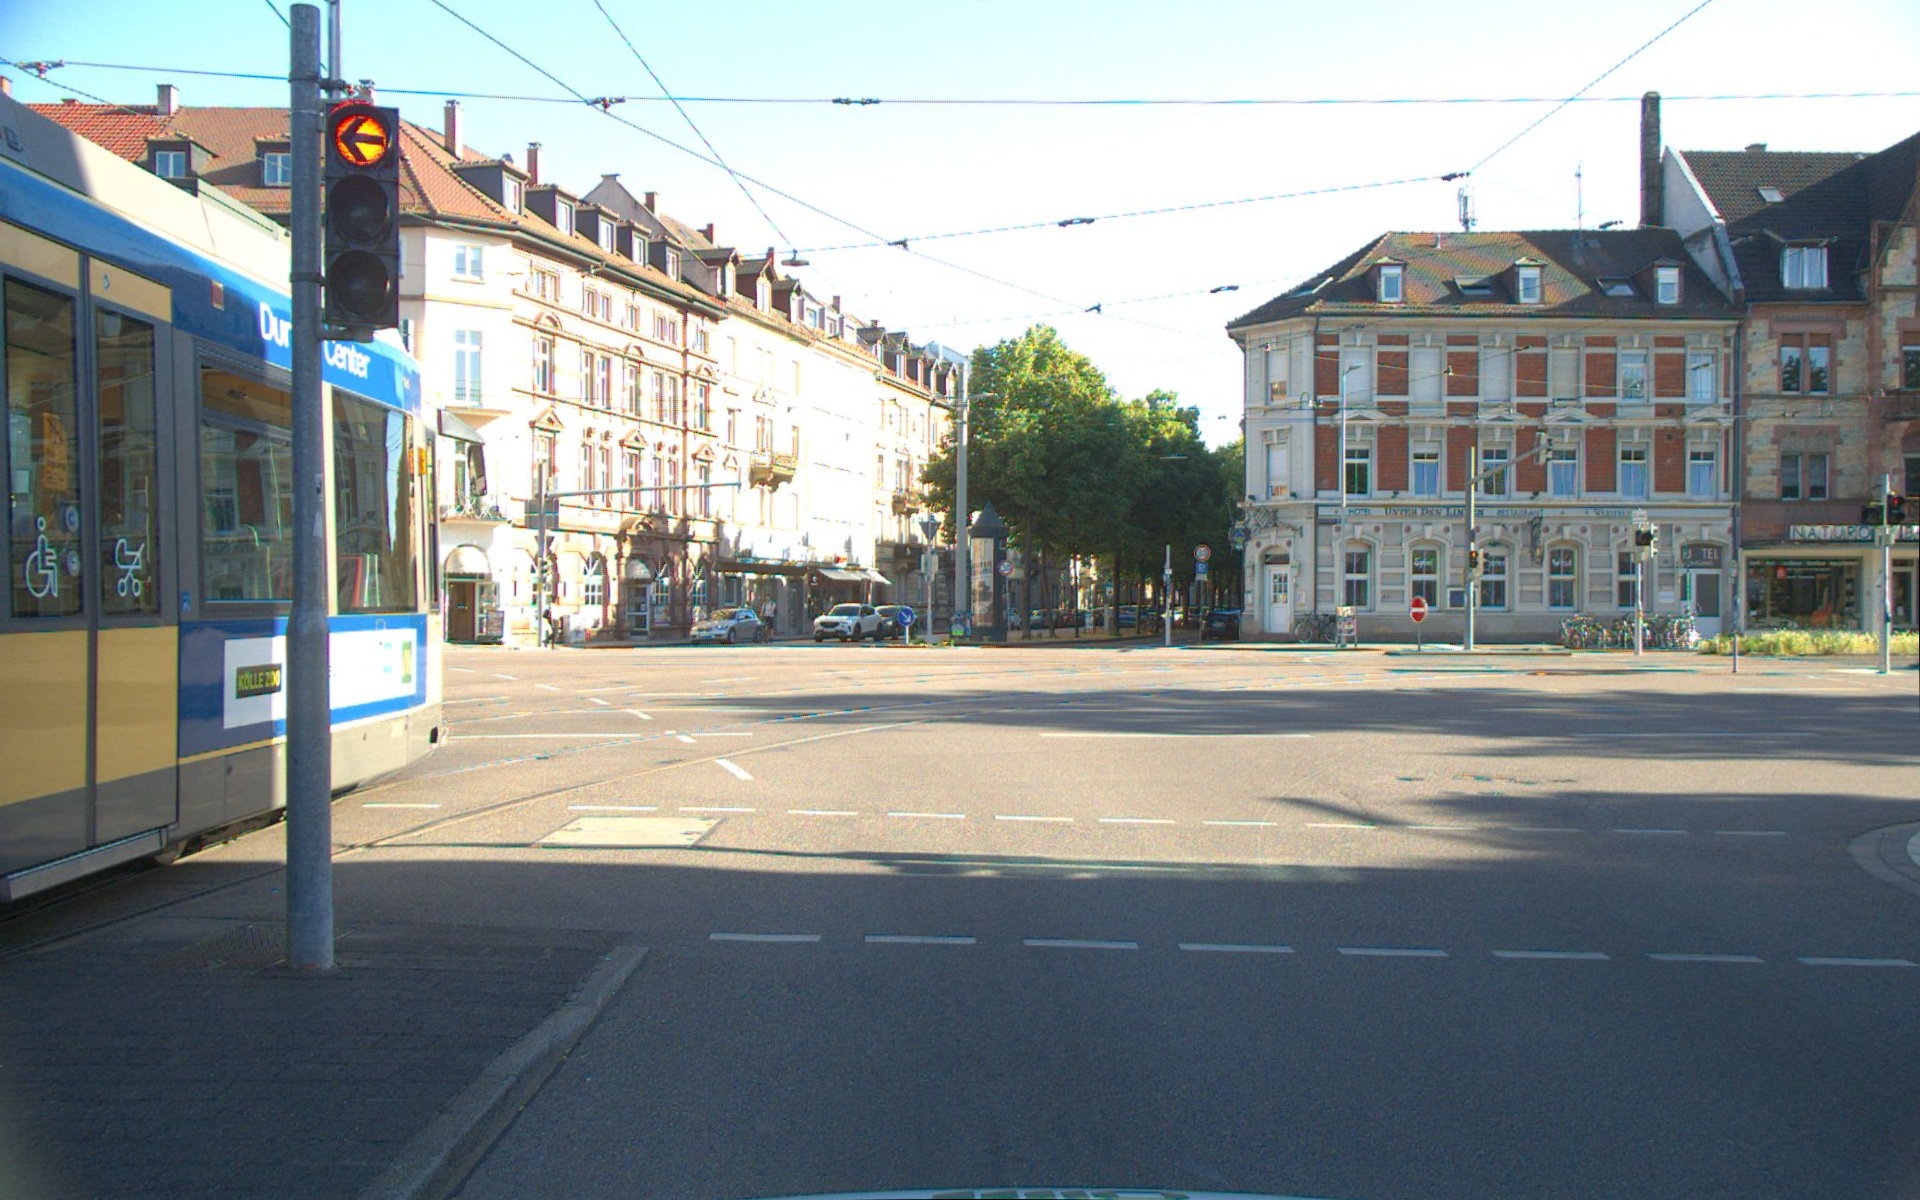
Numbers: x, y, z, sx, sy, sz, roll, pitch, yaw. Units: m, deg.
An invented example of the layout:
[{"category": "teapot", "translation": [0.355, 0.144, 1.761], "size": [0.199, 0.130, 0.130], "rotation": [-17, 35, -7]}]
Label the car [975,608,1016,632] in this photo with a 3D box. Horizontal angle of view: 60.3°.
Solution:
[{"category": "car", "translation": [2.416, 1.323, 110.985], "size": [1.951, 1.512, 4.003], "rotation": [0, 0, 13]}]

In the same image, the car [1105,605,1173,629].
[{"category": "car", "translation": [12.487, 1.193, 115.511], "size": [4.290, 1.640, 1.998], "rotation": [0, 0, 26]}]

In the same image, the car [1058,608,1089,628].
[{"category": "car", "translation": [9.397, 1.459, 136.458], "size": [1.727, 1.576, 4.394], "rotation": [0, 0, 16]}]

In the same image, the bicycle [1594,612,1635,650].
[{"category": "bicycle", "translation": [21.165, 0.995, 53.503], "size": [0.605, 1.163, 2.175], "rotation": [0, 0, 4]}]

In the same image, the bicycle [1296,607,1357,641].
[{"category": "bicycle", "translation": [12.751, 0.819, 57.577], "size": [2.045, 1.144, 0.366], "rotation": [1, -1, -5]}]

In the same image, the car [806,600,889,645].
[{"category": "car", "translation": [-4.542, 0.883, 67.249], "size": [1.951, 1.713, 4.393], "rotation": [0, 0, 17]}]

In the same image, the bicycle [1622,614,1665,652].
[{"category": "bicycle", "translation": [22.072, 1.057, 53.444], "size": [0.605, 1.163, 2.175], "rotation": [0, 0, 4]}]

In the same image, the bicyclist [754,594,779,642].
[{"category": "bicyclist", "translation": [-7.585, 0.692, 64.927], "size": [0.664, 1.852, 1.071], "rotation": [0, 0, 12]}]

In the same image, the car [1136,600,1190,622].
[{"category": "car", "translation": [16.423, 0.883, 133.867], "size": [3.912, 1.736, 1.996], "rotation": [0, 0, 30]}]

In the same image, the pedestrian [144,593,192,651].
[{"category": "pedestrian", "translation": [-24.893, 0.681, 52.004], "size": [0.985, 1.806, 0.942], "rotation": [0, 0, 14]}]

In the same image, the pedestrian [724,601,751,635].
[{"category": "pedestrian", "translation": [-10.279, 0.812, 76.506], "size": [0.908, 1.562, 1.138], "rotation": [0, 0, 13]}]

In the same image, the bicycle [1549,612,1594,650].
[{"category": "bicycle", "translation": [19.821, 0.990, 53.652], "size": [0.789, 1.163, 2.175], "rotation": [0, 0, 4]}]

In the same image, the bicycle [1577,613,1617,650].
[{"category": "bicycle", "translation": [20.593, 1.001, 53.533], "size": [0.605, 1.163, 2.175], "rotation": [0, 0, 4]}]

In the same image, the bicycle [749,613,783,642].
[{"category": "bicycle", "translation": [-7.595, 1.080, 64.885], "size": [0.665, 1.085, 2.127], "rotation": [0, 0, 12]}]

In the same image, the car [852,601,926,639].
[{"category": "car", "translation": [-3.147, 0.860, 73.784], "size": [1.951, 1.640, 4.393], "rotation": [0, 0, 17]}]

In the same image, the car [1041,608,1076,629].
[{"category": "car", "translation": [7.785, 1.420, 130.557], "size": [1.798, 1.579, 4.393], "rotation": [0, 0, 16]}]

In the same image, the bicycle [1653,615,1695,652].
[{"category": "bicycle", "translation": [23.037, 1.061, 53.392], "size": [0.596, 1.156, 2.136], "rotation": [0, 0, 4]}]

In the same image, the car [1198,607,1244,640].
[{"category": "car", "translation": [13.072, 1.160, 82.628], "size": [1.951, 1.613, 4.003], "rotation": [0, 0, 13]}]

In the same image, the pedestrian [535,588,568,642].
[{"category": "pedestrian", "translation": [-13.590, 0.494, 55.070], "size": [1.028, 1.774, 0.806], "rotation": [0, 0, -13]}]

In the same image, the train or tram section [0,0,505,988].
[{"category": "train or tram section", "translation": [-4.631, -0.462, 6.174], "size": [2.714, 3.561, 12.028], "rotation": [0, 0, -1]}]

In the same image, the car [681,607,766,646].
[{"category": "car", "translation": [-9.525, 1.033, 66.896], "size": [1.858, 1.481, 4.002], "rotation": [0, 0, 17]}]

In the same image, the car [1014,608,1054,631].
[{"category": "car", "translation": [5.531, 1.422, 122.733], "size": [1.951, 1.640, 4.393], "rotation": [0, 0, 17]}]
